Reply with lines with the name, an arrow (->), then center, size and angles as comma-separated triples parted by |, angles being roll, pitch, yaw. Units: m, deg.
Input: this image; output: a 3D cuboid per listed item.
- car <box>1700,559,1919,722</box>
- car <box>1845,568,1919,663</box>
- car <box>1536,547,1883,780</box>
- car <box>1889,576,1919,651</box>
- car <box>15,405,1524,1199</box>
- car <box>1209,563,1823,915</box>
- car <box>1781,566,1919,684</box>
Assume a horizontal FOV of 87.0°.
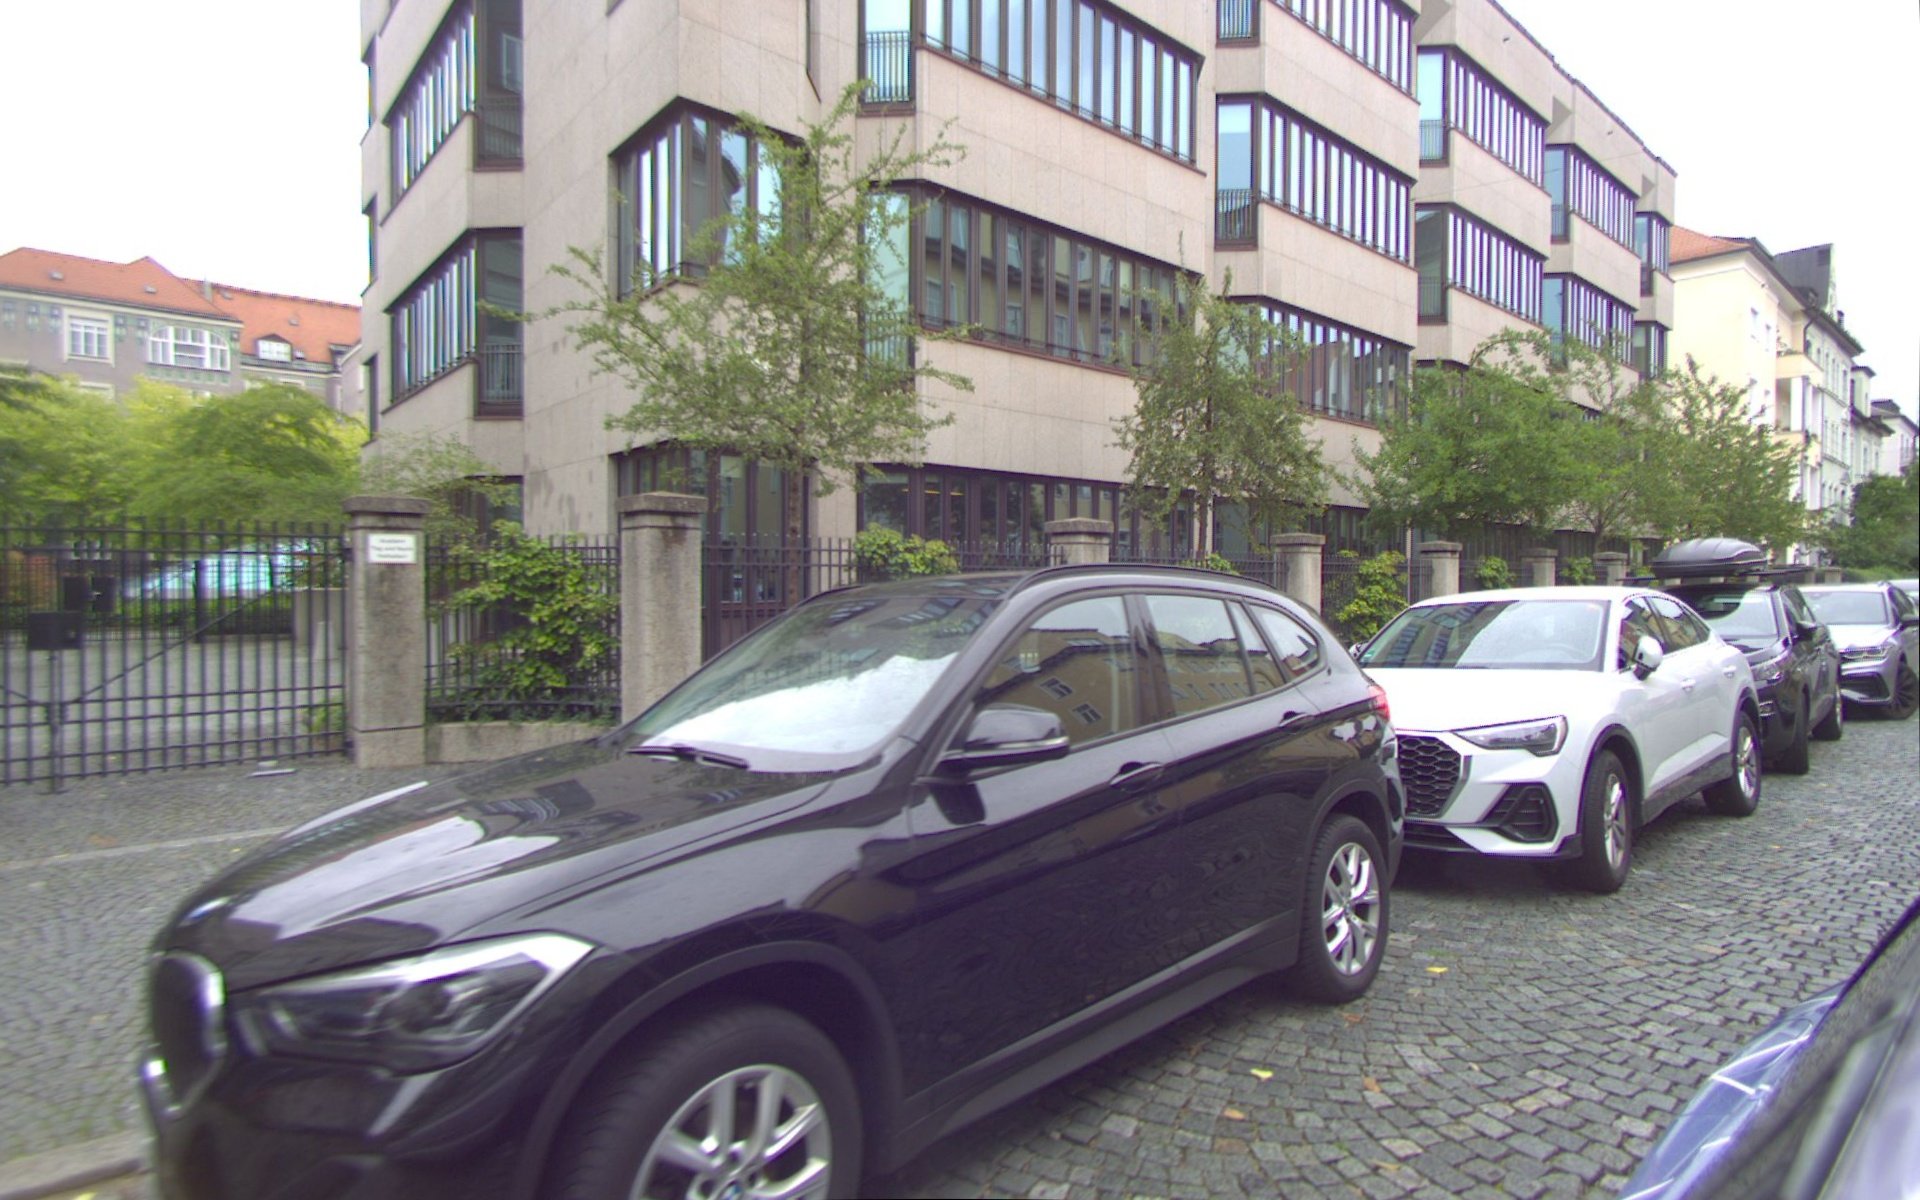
car -> 11.547, 0.425, 13.215 | 4.804, 1.757, 1.877 | -1, -1, -40
car -> 19.875, 0.280, 20.936 | 4.433, 1.820, 1.790 | -1, -3, -42
car -> 7.506, 0.499, 9.933 | 4.668, 1.757, 1.874 | -1, -2, -43
car -> 23.994, 0.265, 24.342 | 4.729, 1.724, 1.863 | -1, -2, -41
car -> -0.012, 0.607, 3.437 | 4.576, 1.691, 1.876 | -1, -1, -41
car -> 3.785, 0.610, 6.519 | 4.533, 1.509, 1.877 | 0, -1, -39
car -> 15.614, 0.377, 17.130 | 4.579, 1.757, 1.875 | -1, -3, -42
